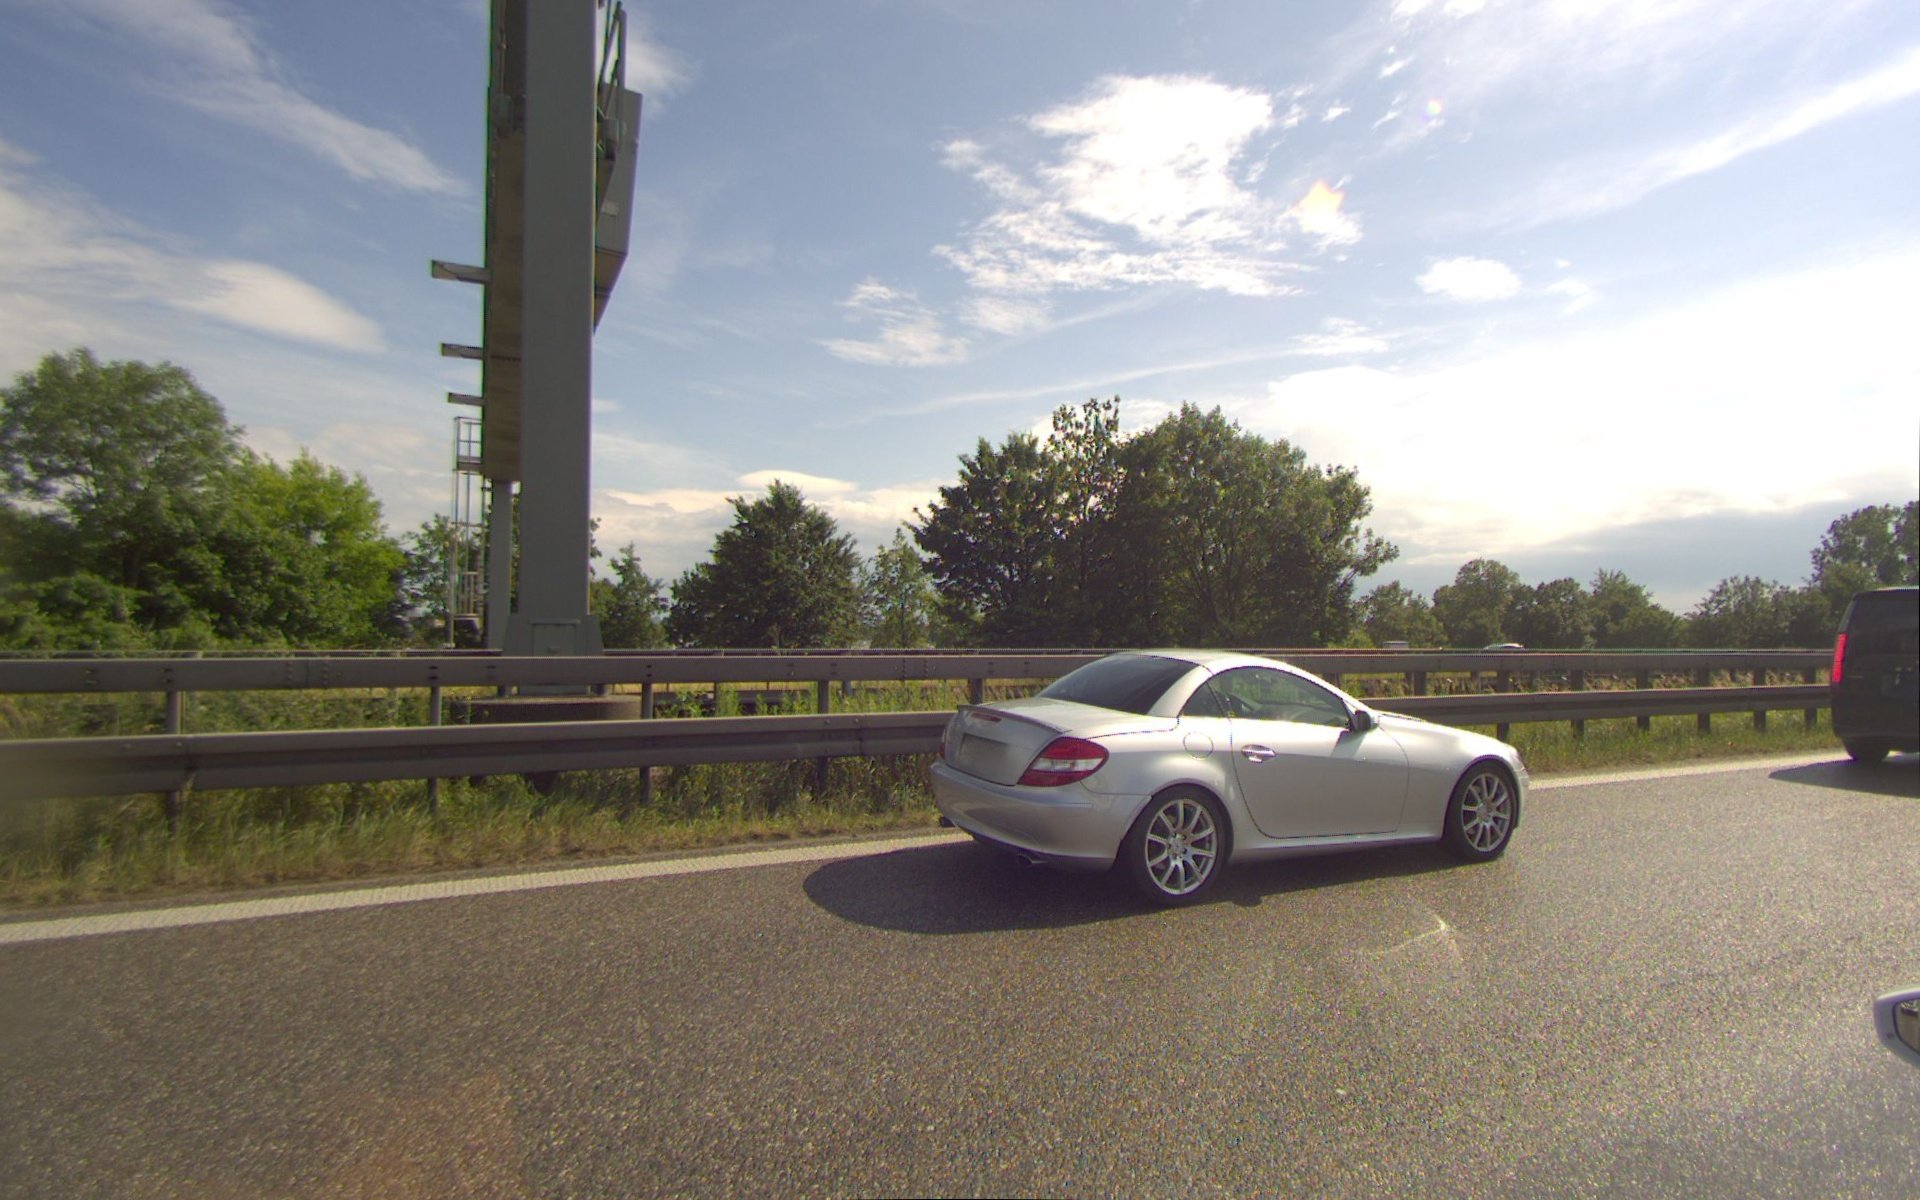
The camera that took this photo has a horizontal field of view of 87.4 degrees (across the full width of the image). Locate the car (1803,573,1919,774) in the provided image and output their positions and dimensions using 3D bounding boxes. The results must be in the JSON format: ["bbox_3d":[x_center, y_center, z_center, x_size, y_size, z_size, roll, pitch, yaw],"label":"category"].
[{"bbox_3d":[12.085,0.795,11.357,5.199,2.040,1.987,1,-1,-26],"label":"car"}]

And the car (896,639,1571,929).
[{"bbox_3d":[1.777,0.921,6.336,4.011,1.295,1.718,1,-1,-27],"label":"car"}]
